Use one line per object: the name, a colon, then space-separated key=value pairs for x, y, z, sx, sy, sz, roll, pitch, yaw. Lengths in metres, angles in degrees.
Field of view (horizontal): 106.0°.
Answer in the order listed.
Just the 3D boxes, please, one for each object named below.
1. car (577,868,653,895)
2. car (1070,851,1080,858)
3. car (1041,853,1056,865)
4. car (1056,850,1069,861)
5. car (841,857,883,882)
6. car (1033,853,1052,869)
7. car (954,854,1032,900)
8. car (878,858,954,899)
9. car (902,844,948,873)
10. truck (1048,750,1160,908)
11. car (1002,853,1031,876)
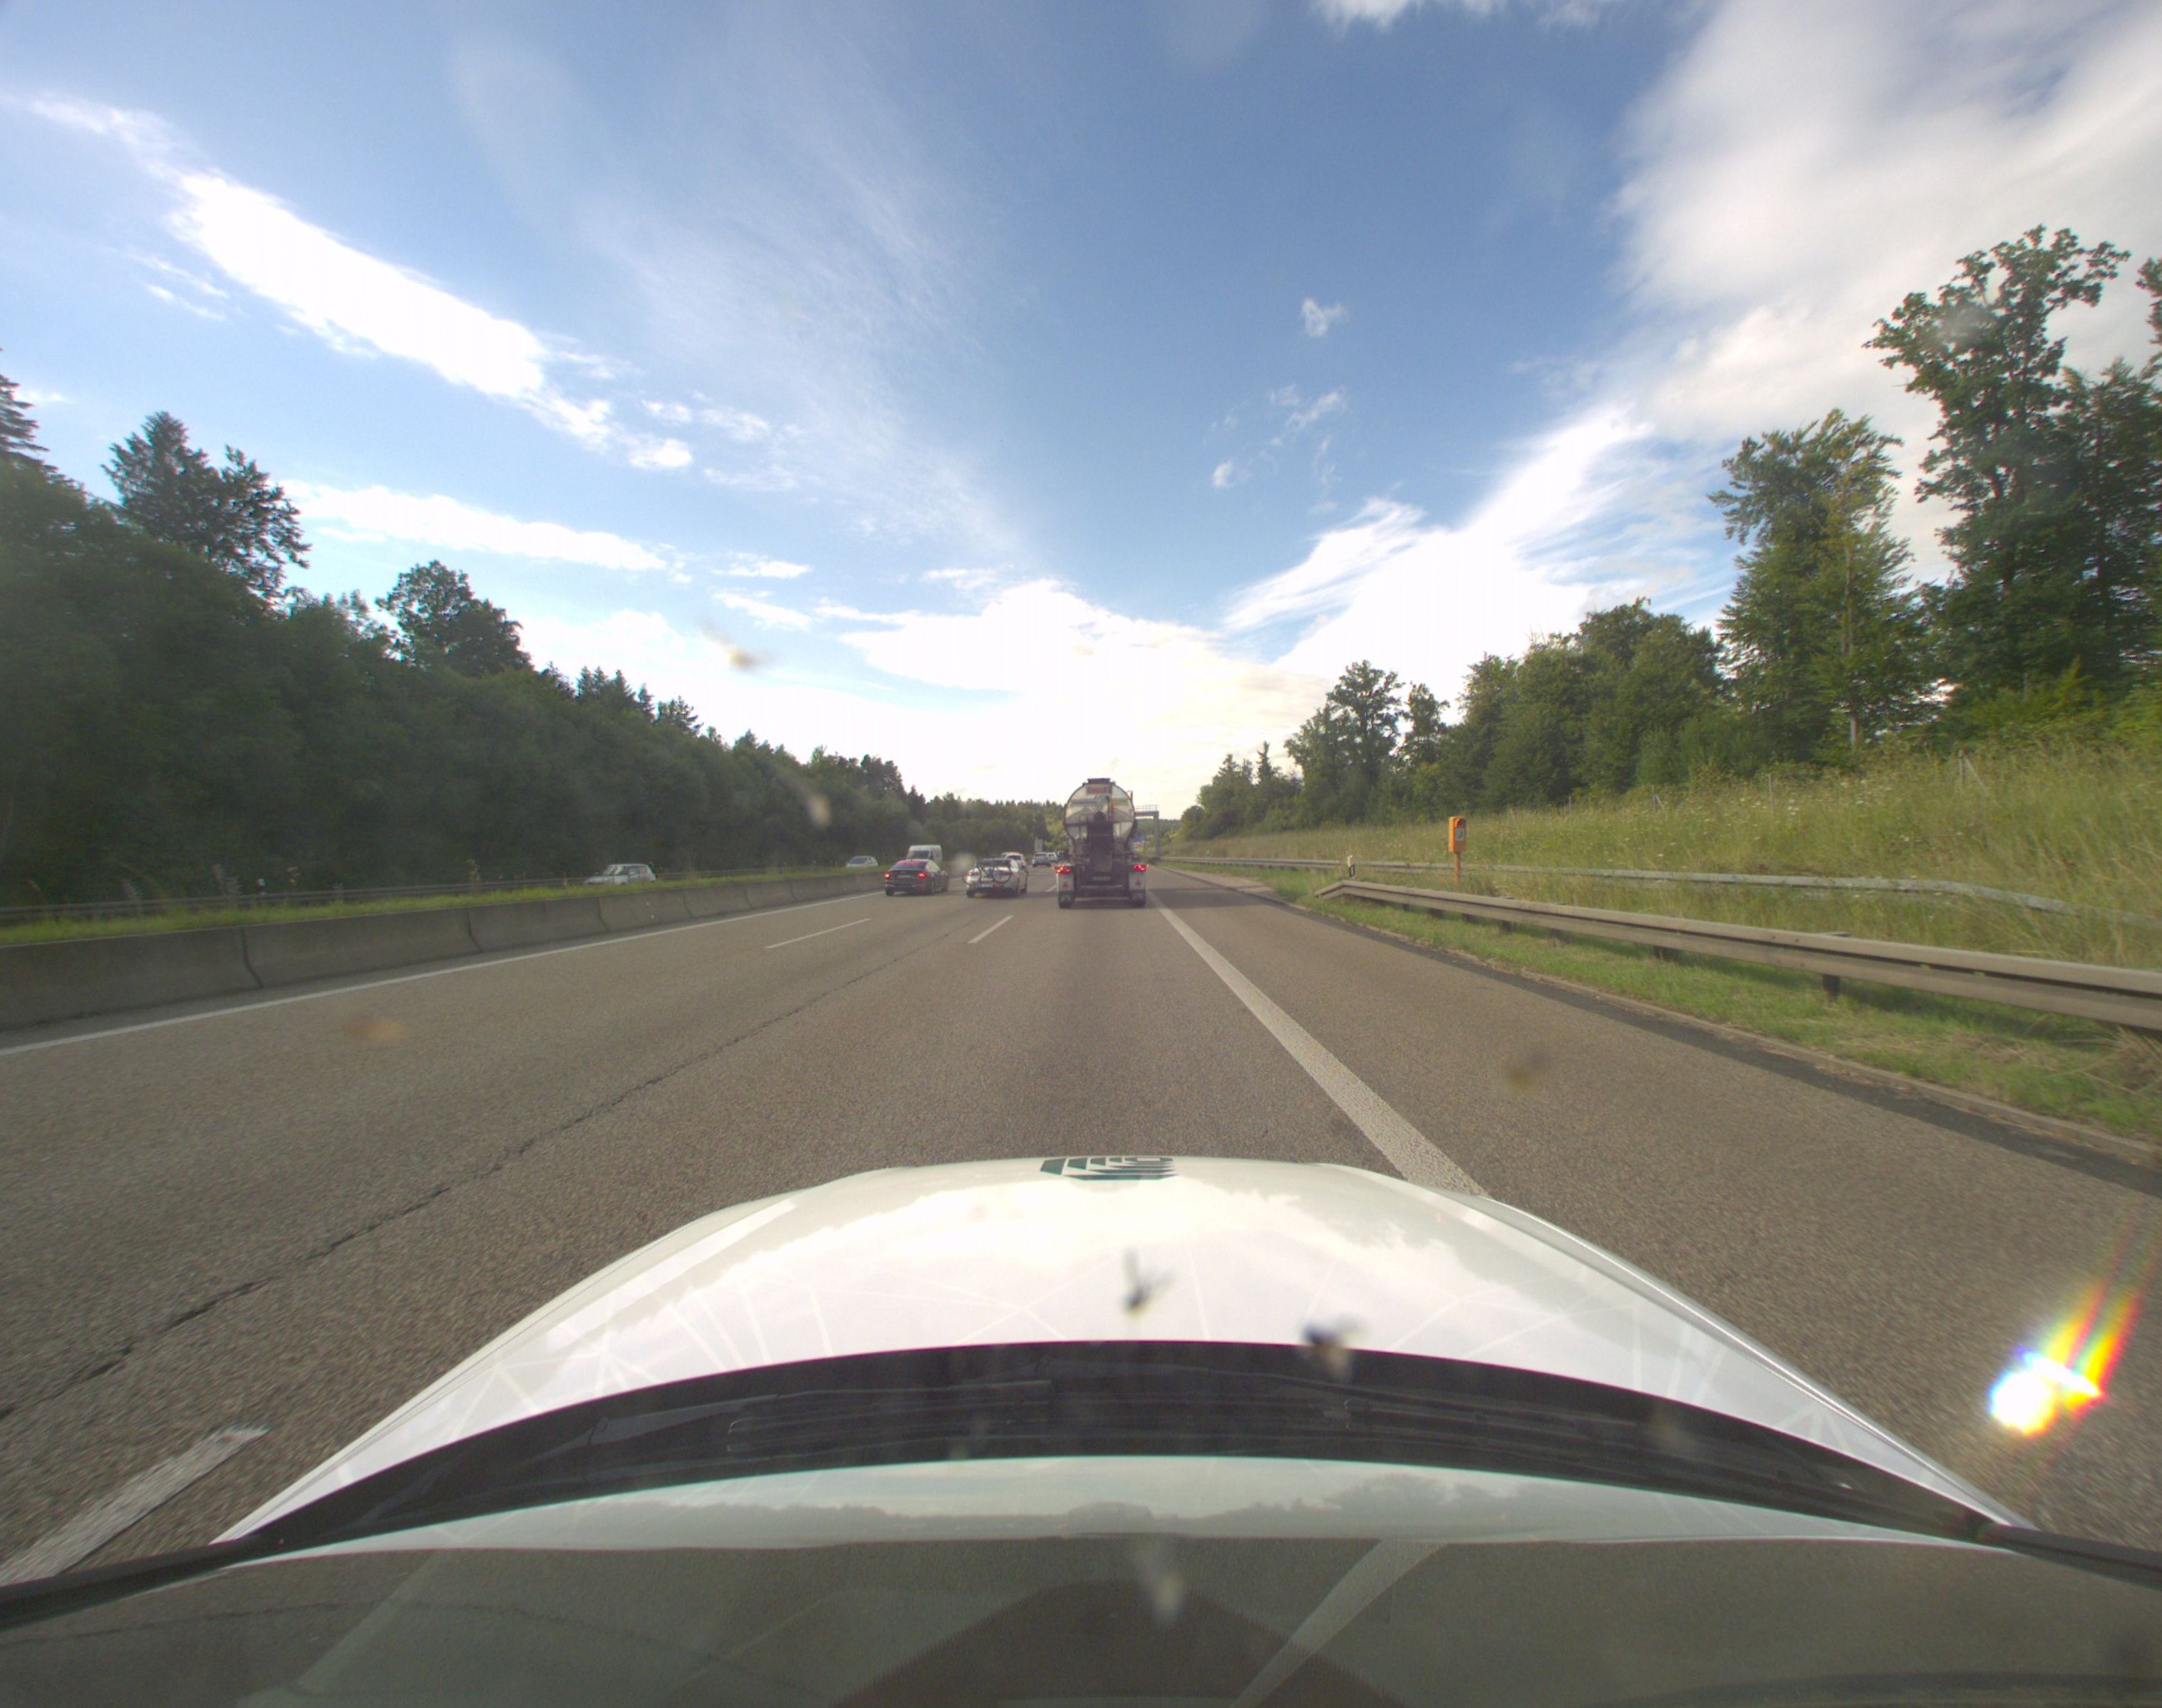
car: x=-21.429 y=1.231 z=37.551 sx=1.585 sy=1.094 sz=3.174 roll=-1 pitch=0 yaw=2
car: x=-1.357 y=0.101 z=176.606 sx=1.935 sy=1.456 sz=4.208 roll=-1 pitch=1 yaw=1
car: x=-4.551 y=0.624 z=113.649 sx=1.800 sy=1.585 sz=4.208 roll=-1 pitch=1 yaw=1
car: x=-2.958 y=0.248 z=132.570 sx=1.935 sy=1.585 sz=4.208 roll=-1 pitch=1 yaw=1
car: x=-17.066 y=1.177 z=63.698 sx=1.917 sy=1.805 sz=4.495 roll=-1 pitch=0 yaw=2
car: x=-4.149 y=0.709 z=88.493 sx=1.800 sy=1.585 sz=4.208 roll=-1 pitch=1 yaw=1
car: x=-3.146 y=0.771 z=30.333 sx=2.052 sy=1.499 sz=5.739 roll=-1 pitch=0 yaw=2
car: x=-6.493 y=0.926 z=32.646 sx=1.849 sy=1.431 sz=4.843 roll=-1 pitch=0 yaw=2
car: x=-13.278 y=0.353 z=69.558 sx=2.569 sy=2.346 sz=5.832 roll=-1 pitch=0 yaw=2
truck: x=0.833 y=-0.685 z=27.285 sx=2.901 sy=4.157 sz=11.276 roll=-1 pitch=0 yaw=2
car: x=-4.443 y=0.704 z=56.322 sx=1.612 sy=1.544 sz=3.521 roll=-1 pitch=0 yaw=1
